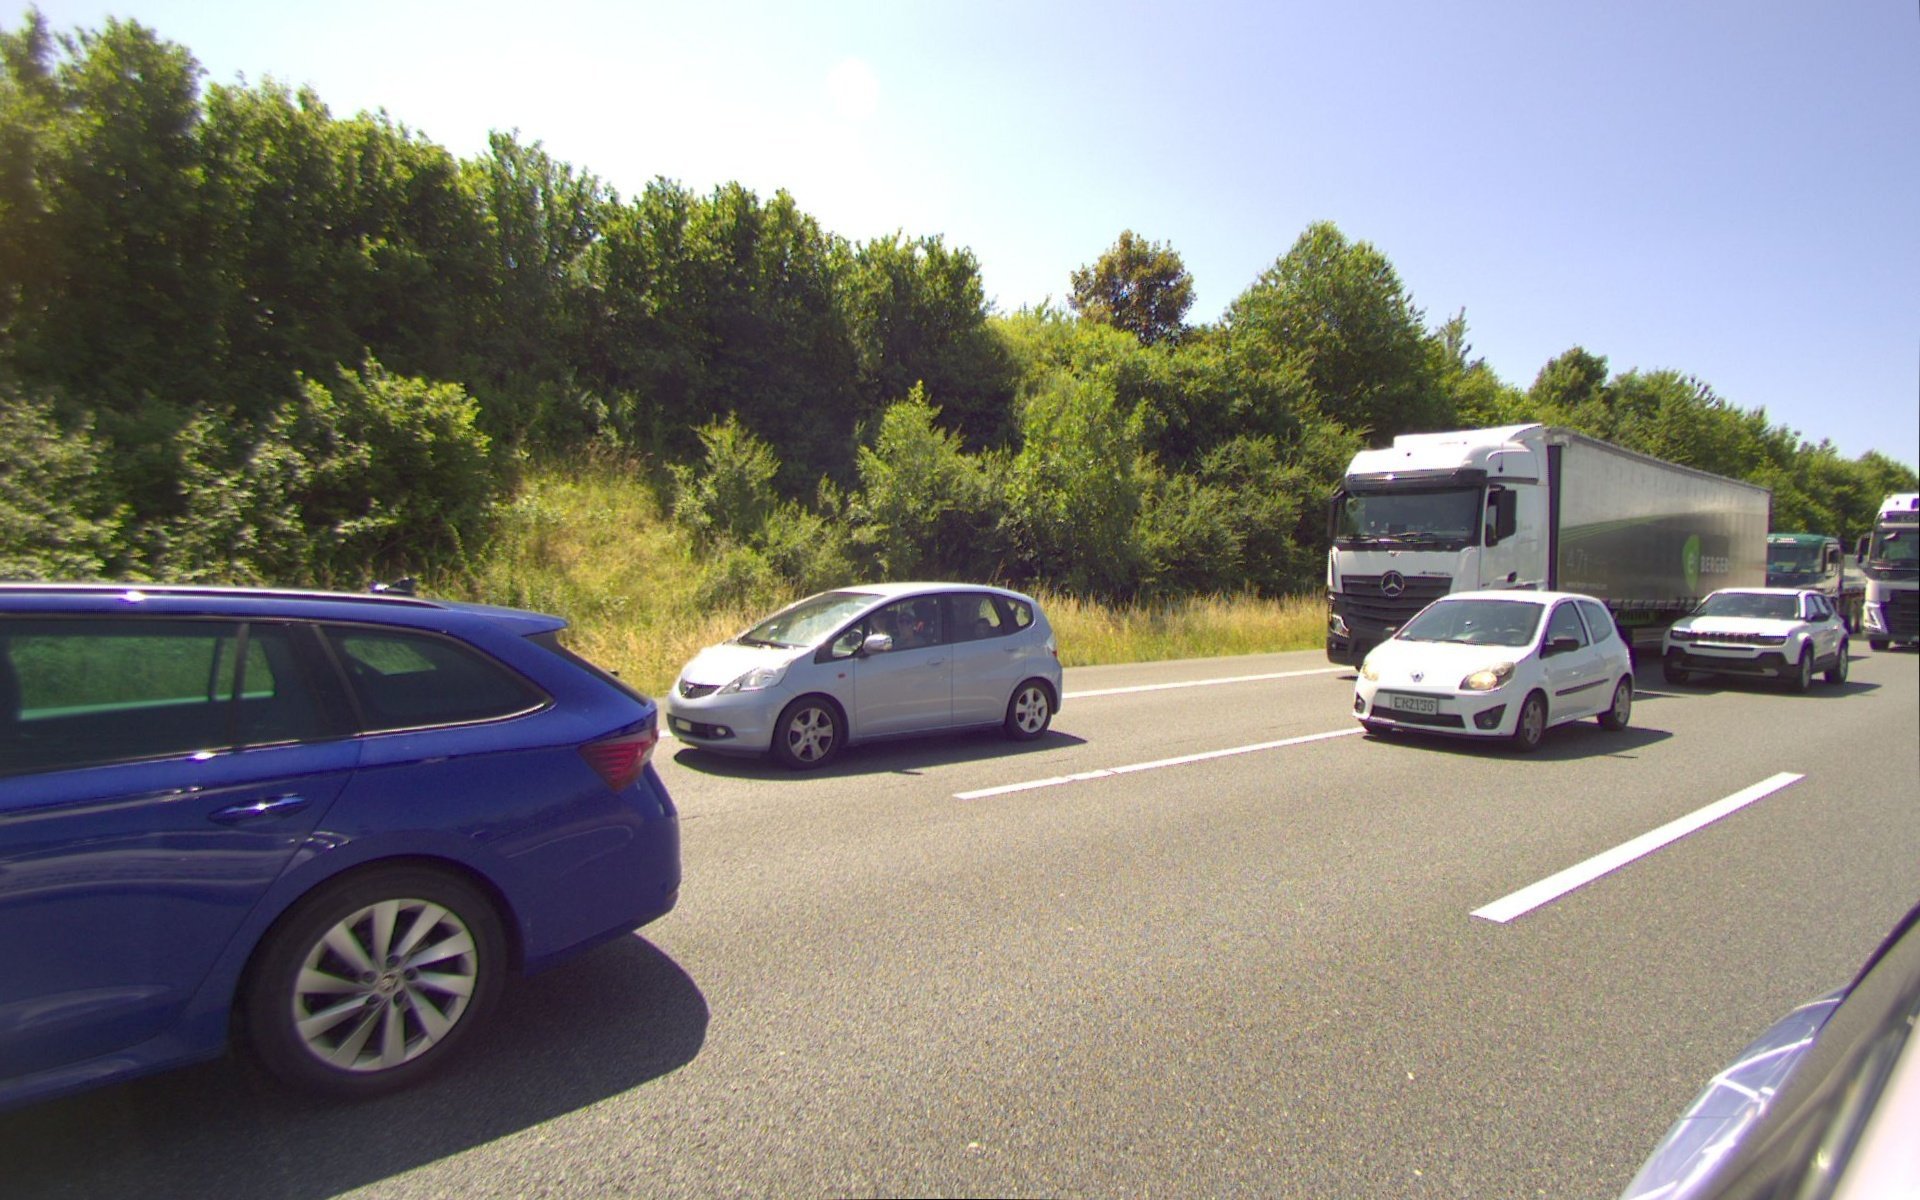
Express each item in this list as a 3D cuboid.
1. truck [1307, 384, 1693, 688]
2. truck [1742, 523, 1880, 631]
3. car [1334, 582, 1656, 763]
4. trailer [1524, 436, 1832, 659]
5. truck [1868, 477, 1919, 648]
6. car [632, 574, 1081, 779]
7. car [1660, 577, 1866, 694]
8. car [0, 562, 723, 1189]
[{"bbox_3d":[9.738,-0.971,17.737,8.321,4.208,2.880,-1,1,-38],"label":"truck"},{"bbox_3d":[27.260,-0.735,32.353,5.572,3.185,2.300,-1,1,-38],"label":"truck"},{"bbox_3d":[5.592,0.586,10.416,3.742,1.451,1.609,-1,3,-40],"label":"car"},{"bbox_3d":[17.369,-1.094,23.925,11.859,4.208,2.879,-1,1,-39],"label":"trailer"},{"bbox_3d":[26.176,-0.929,26.102,8.209,4.044,2.750,-1,1,-38],"label":"truck"},{"bbox_3d":[-0.829,0.529,9.338,3.852,1.479,1.666,-1,3,-40],"label":"car"},{"bbox_3d":[12.817,0.459,16.091,3.815,1.577,1.748,-1,3,-39],"label":"car"},{"bbox_3d":[-3.114,0.624,2.766,4.489,1.434,1.781,-1,3,-38],"label":"car"}]
